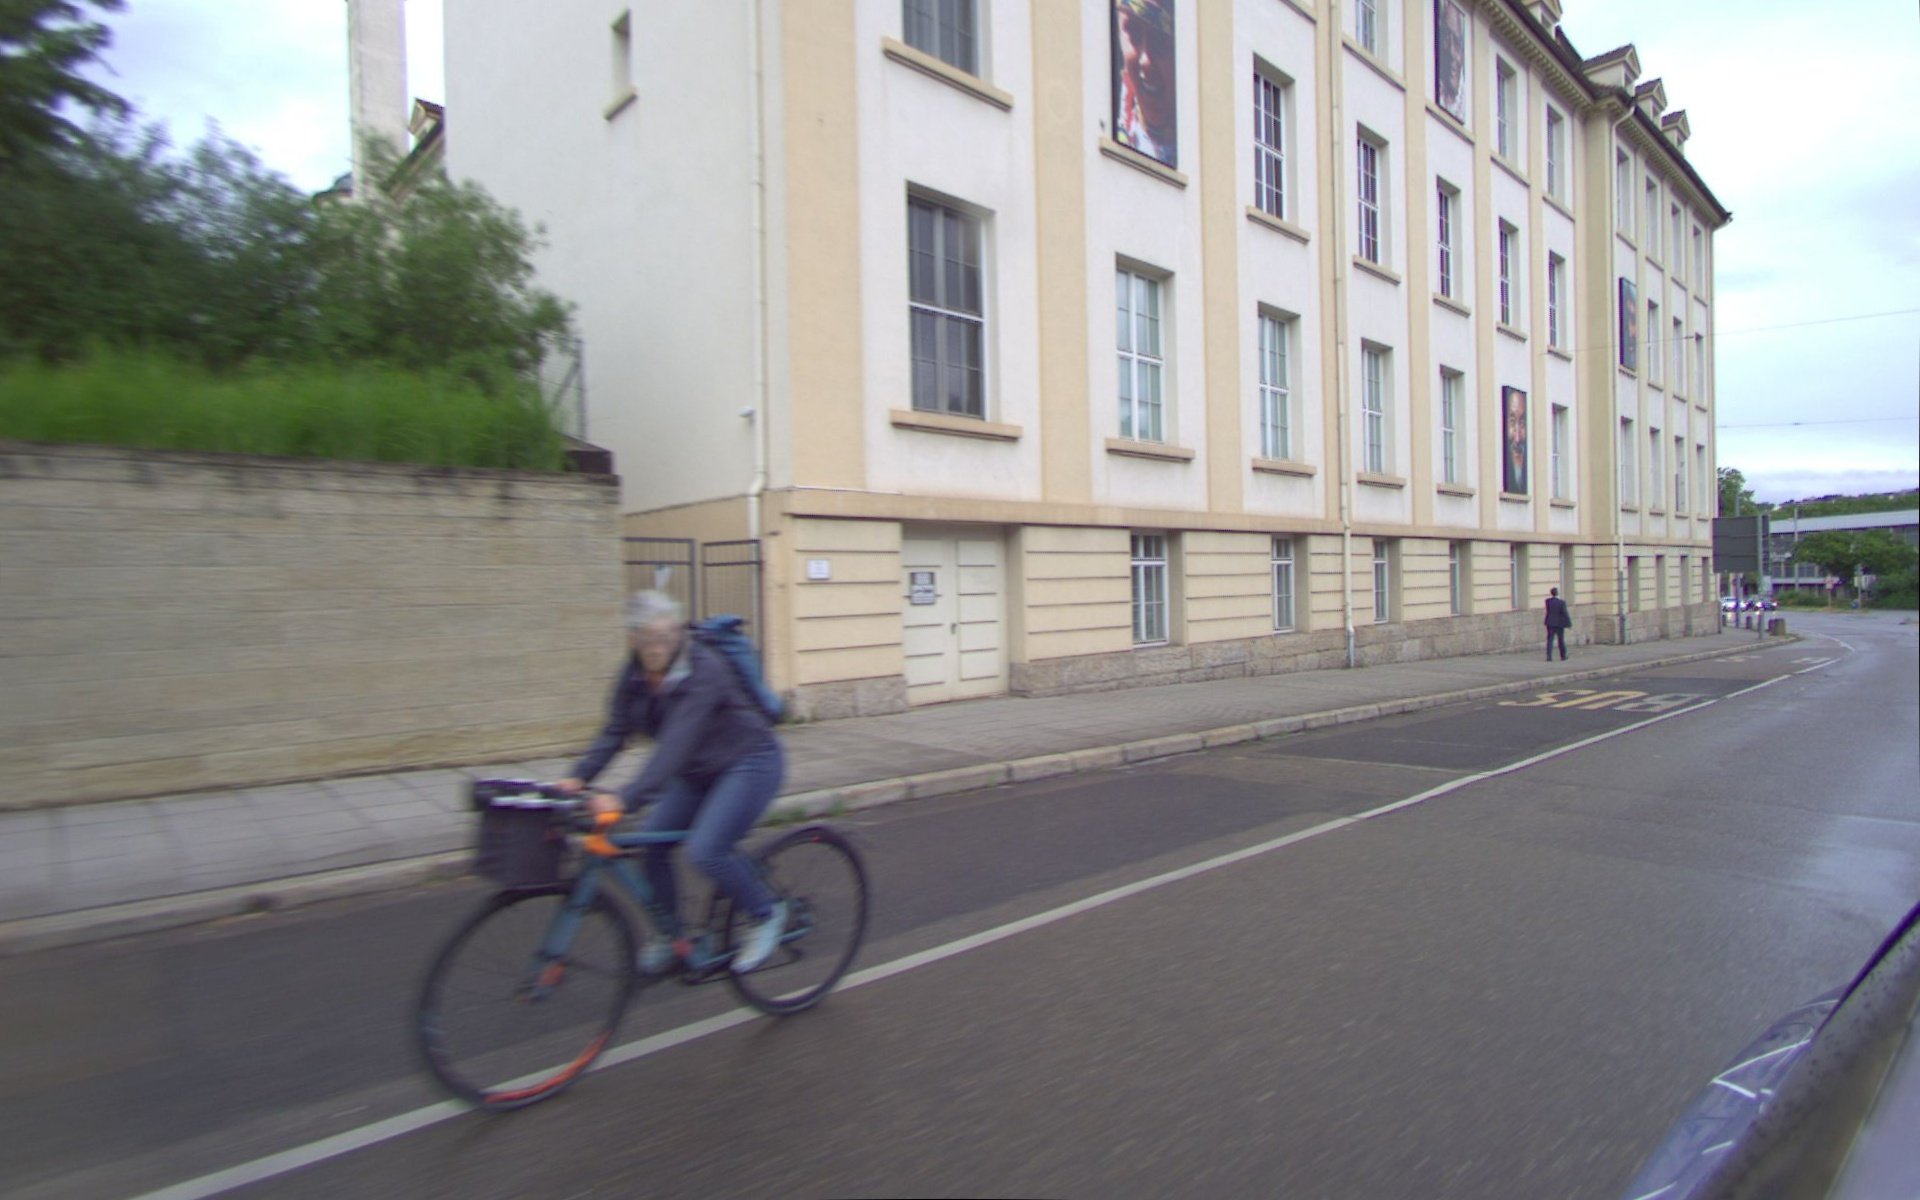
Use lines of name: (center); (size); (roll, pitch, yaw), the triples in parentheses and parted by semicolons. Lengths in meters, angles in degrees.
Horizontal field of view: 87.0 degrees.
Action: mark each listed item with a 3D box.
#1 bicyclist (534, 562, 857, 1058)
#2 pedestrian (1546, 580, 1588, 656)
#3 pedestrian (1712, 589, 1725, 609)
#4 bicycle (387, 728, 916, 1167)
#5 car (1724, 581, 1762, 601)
bicyclist: (-0.888, 0.610, 3.460); (0.914, 1.451, 0.485); (-1, -1, -41)
pedestrian: (14.833, 0.417, 24.721); (0.837, 1.820, 0.671); (-1, 1, -42)
pedestrian: (72.067, -0.115, 96.109); (0.900, 1.819, 0.533); (-3, -1, 42)
bicycle: (-0.941, 1.009, 3.400); (1.660, 0.975, 0.448); (0, -1, -41)
car: (78.791, -0.944, 101.884); (2.056, 1.935, 4.523); (0, 1, 25)
